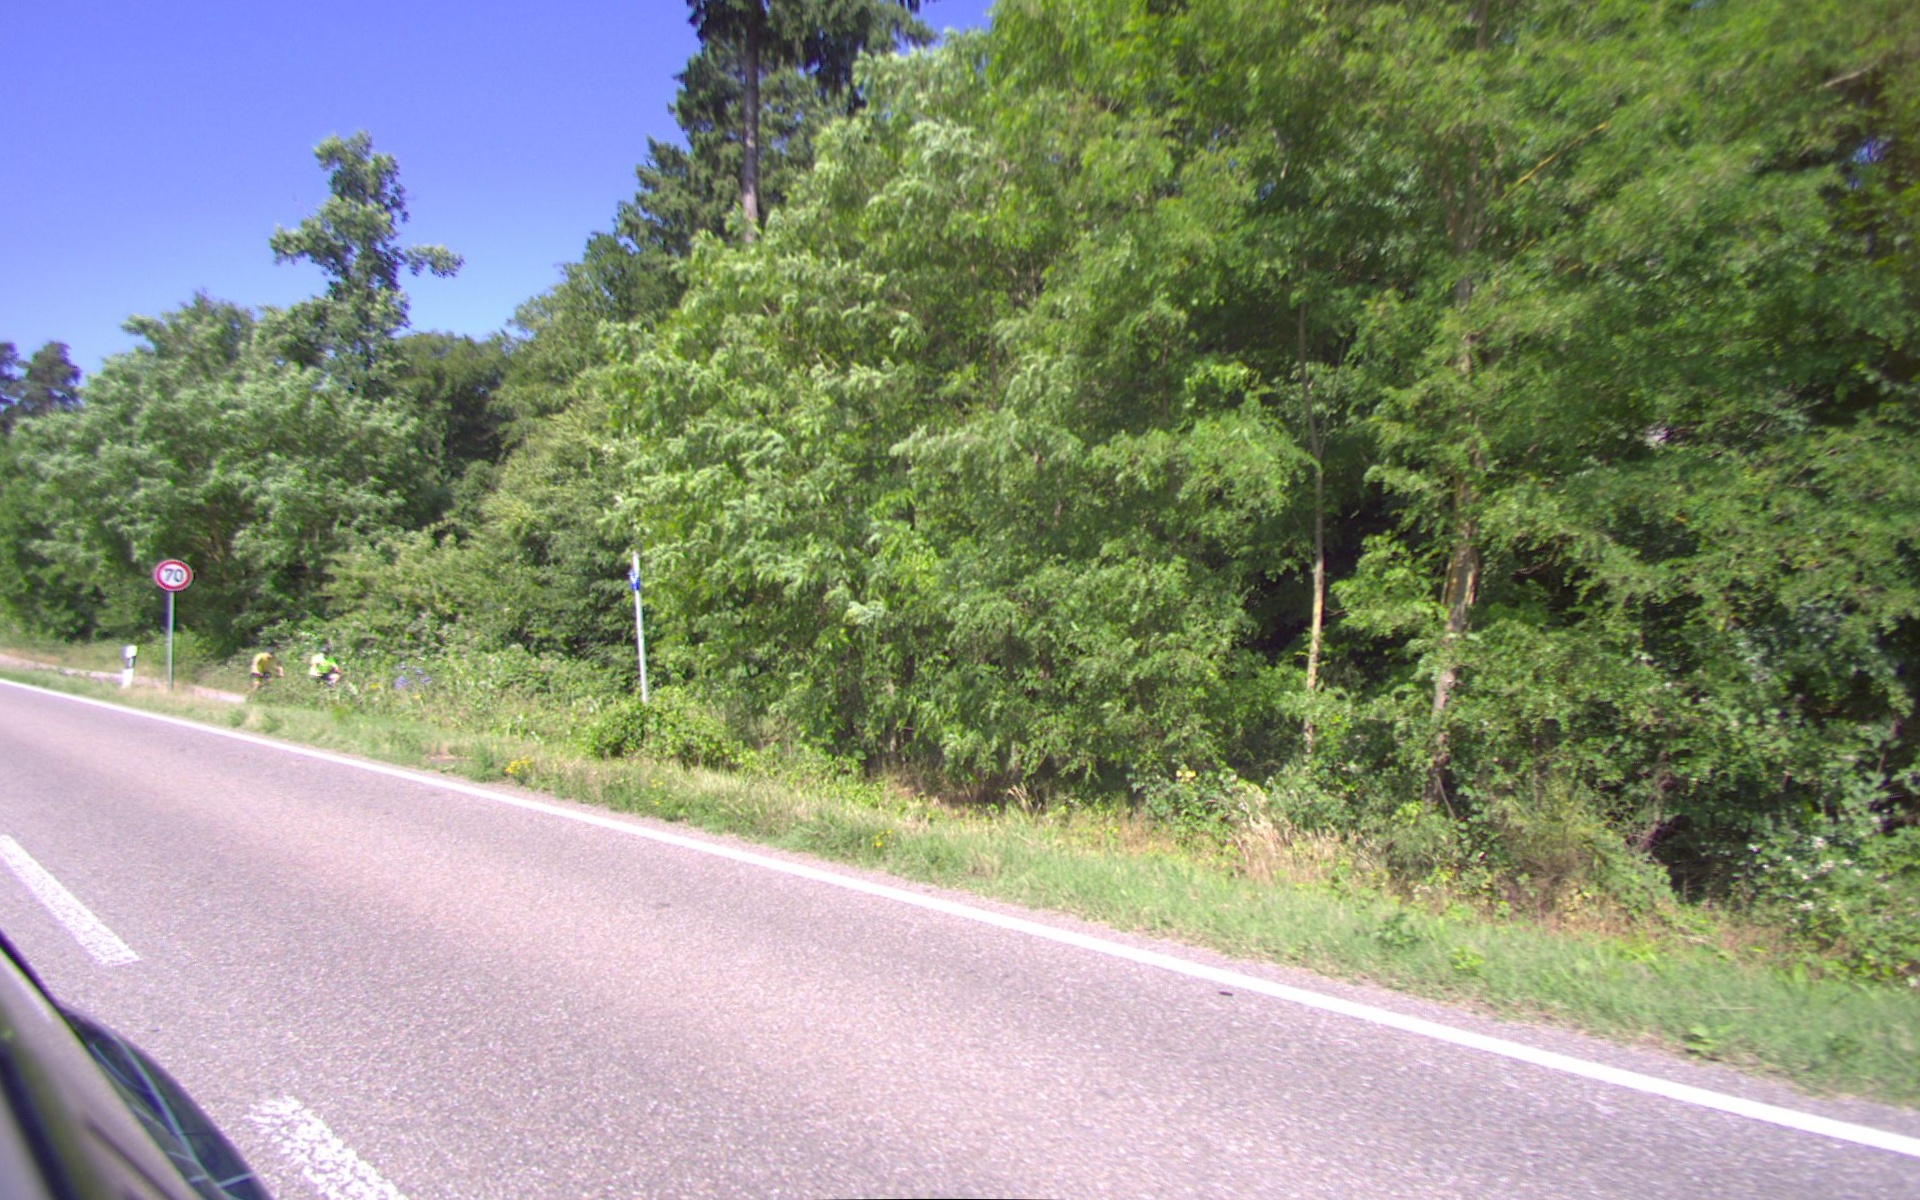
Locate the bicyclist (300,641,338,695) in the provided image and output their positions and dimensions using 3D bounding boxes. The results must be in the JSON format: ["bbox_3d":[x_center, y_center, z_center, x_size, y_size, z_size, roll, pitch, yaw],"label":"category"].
[{"bbox_3d":[-17.158,1.822,27.097,0.702,1.426,0.599,-2,-5,40],"label":"bicyclist"}]

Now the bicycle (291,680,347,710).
[{"bbox_3d":[-17.146,2.531,27.056,2.135,0.686,0.613,-1,-5,40],"label":"bicycle"}]

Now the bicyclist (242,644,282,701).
[{"bbox_3d":[-17.736,1.834,25.723,0.702,1.426,0.599,-1,-4,40],"label":"bicyclist"}]

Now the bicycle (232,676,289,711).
[{"bbox_3d":[-17.768,2.359,25.691,2.135,0.794,0.633,-2,-5,41],"label":"bicycle"}]
